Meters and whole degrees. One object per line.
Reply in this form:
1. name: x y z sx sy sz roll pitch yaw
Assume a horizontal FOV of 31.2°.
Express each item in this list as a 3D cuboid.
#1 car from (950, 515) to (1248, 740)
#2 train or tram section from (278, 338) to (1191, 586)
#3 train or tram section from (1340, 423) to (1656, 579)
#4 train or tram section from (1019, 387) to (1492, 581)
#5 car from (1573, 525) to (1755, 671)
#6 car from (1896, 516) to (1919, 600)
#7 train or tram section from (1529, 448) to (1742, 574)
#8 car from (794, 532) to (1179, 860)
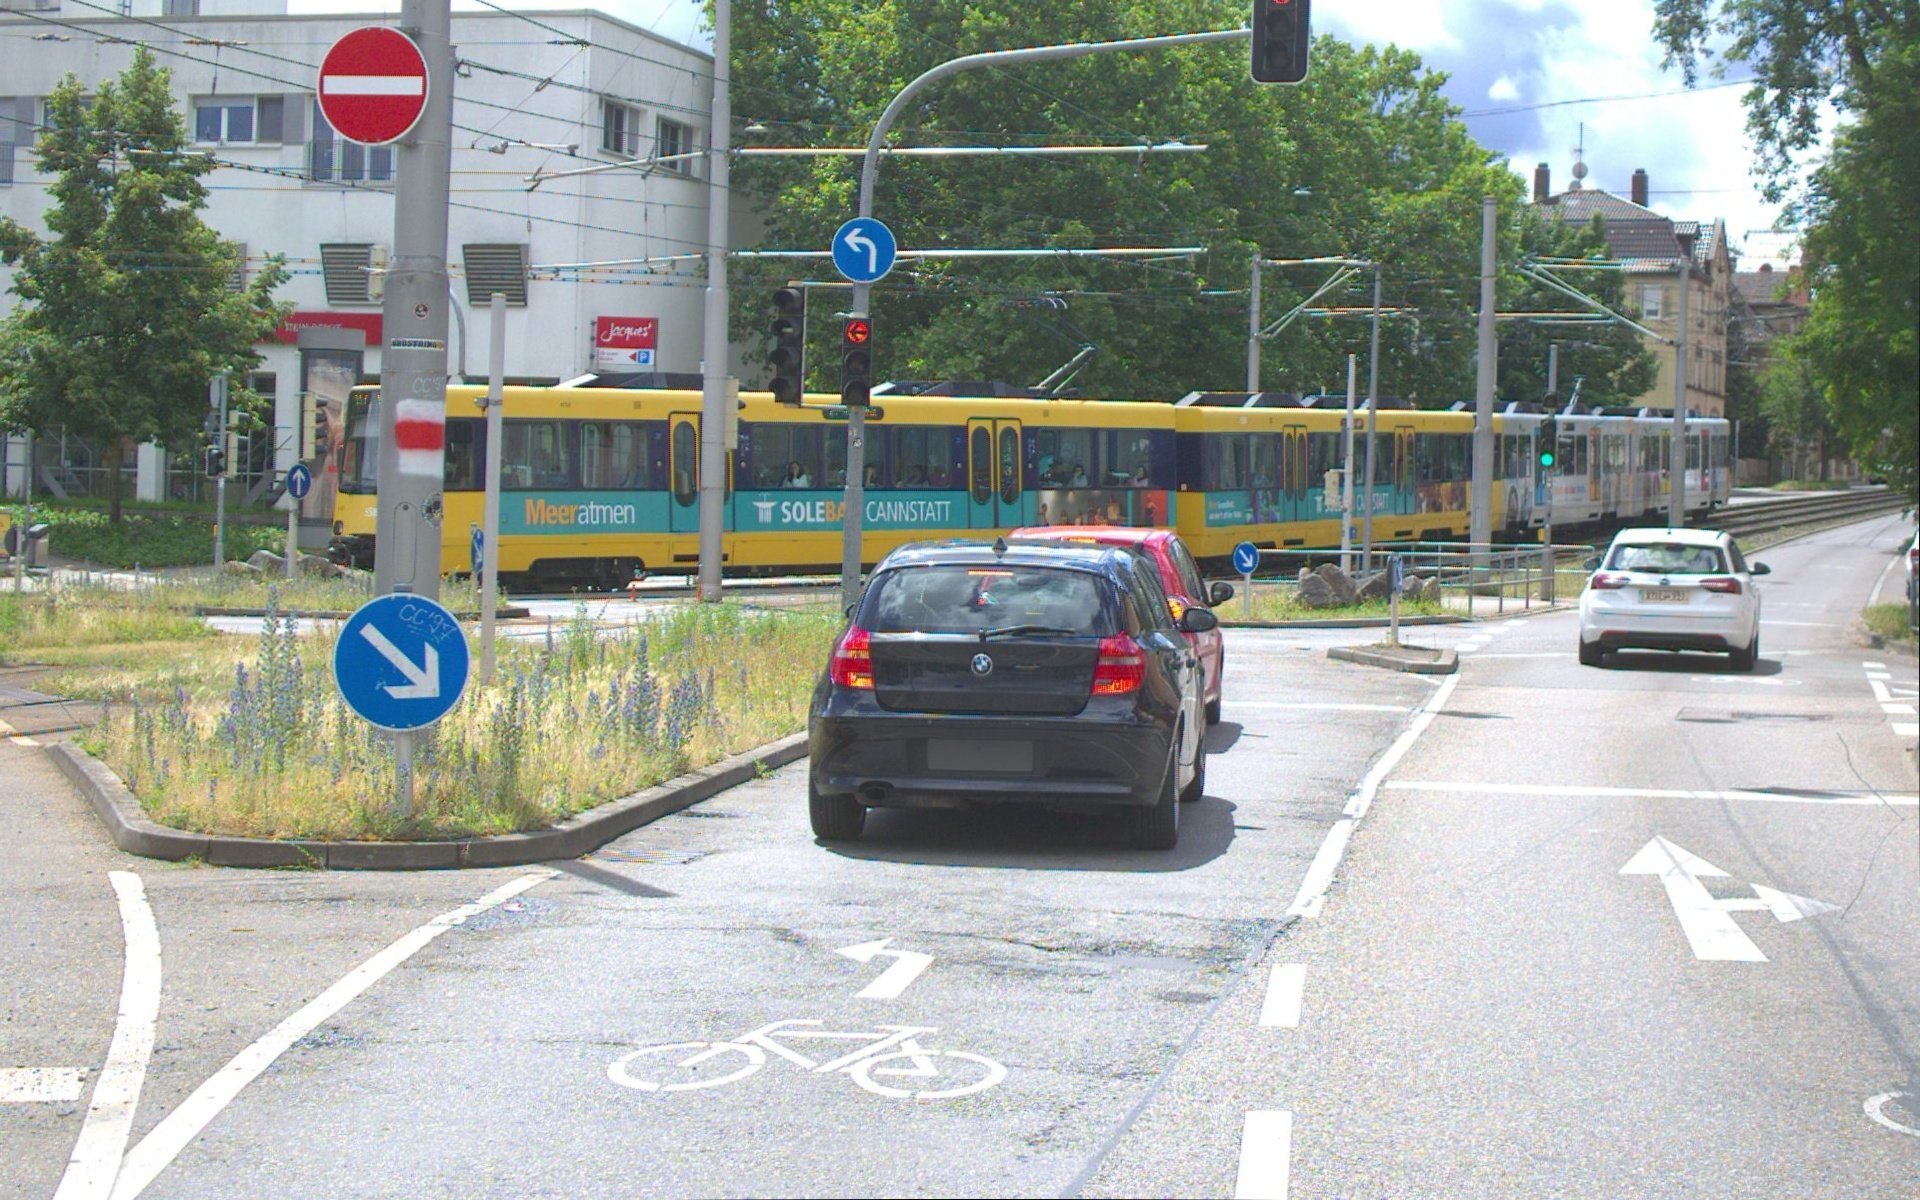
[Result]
1. car: 1.072 0.162 24.541 1.625 1.468 3.998 0 0 10
2. train or tram section: -3.351 -2.227 62.136 3.759 3.905 18.847 0 1 44
3. train or tram section: 15.326 -2.543 95.354 3.754 3.866 20.610 0 1 23
4. train or tram section: 7.210 -2.353 77.290 3.754 3.816 20.121 0 1 26
5. car: 7.672 -0.070 37.394 1.816 1.463 3.998 1 2 12
6. car: 19.148 -0.804 66.720 1.788 1.590 3.997 0 0 17
7. train or tram section: 22.609 -2.773 113.647 3.753 3.801 20.030 0 1 20
8. car: 0.153 0.407 17.217 1.701 1.447 4.000 0 0 1
